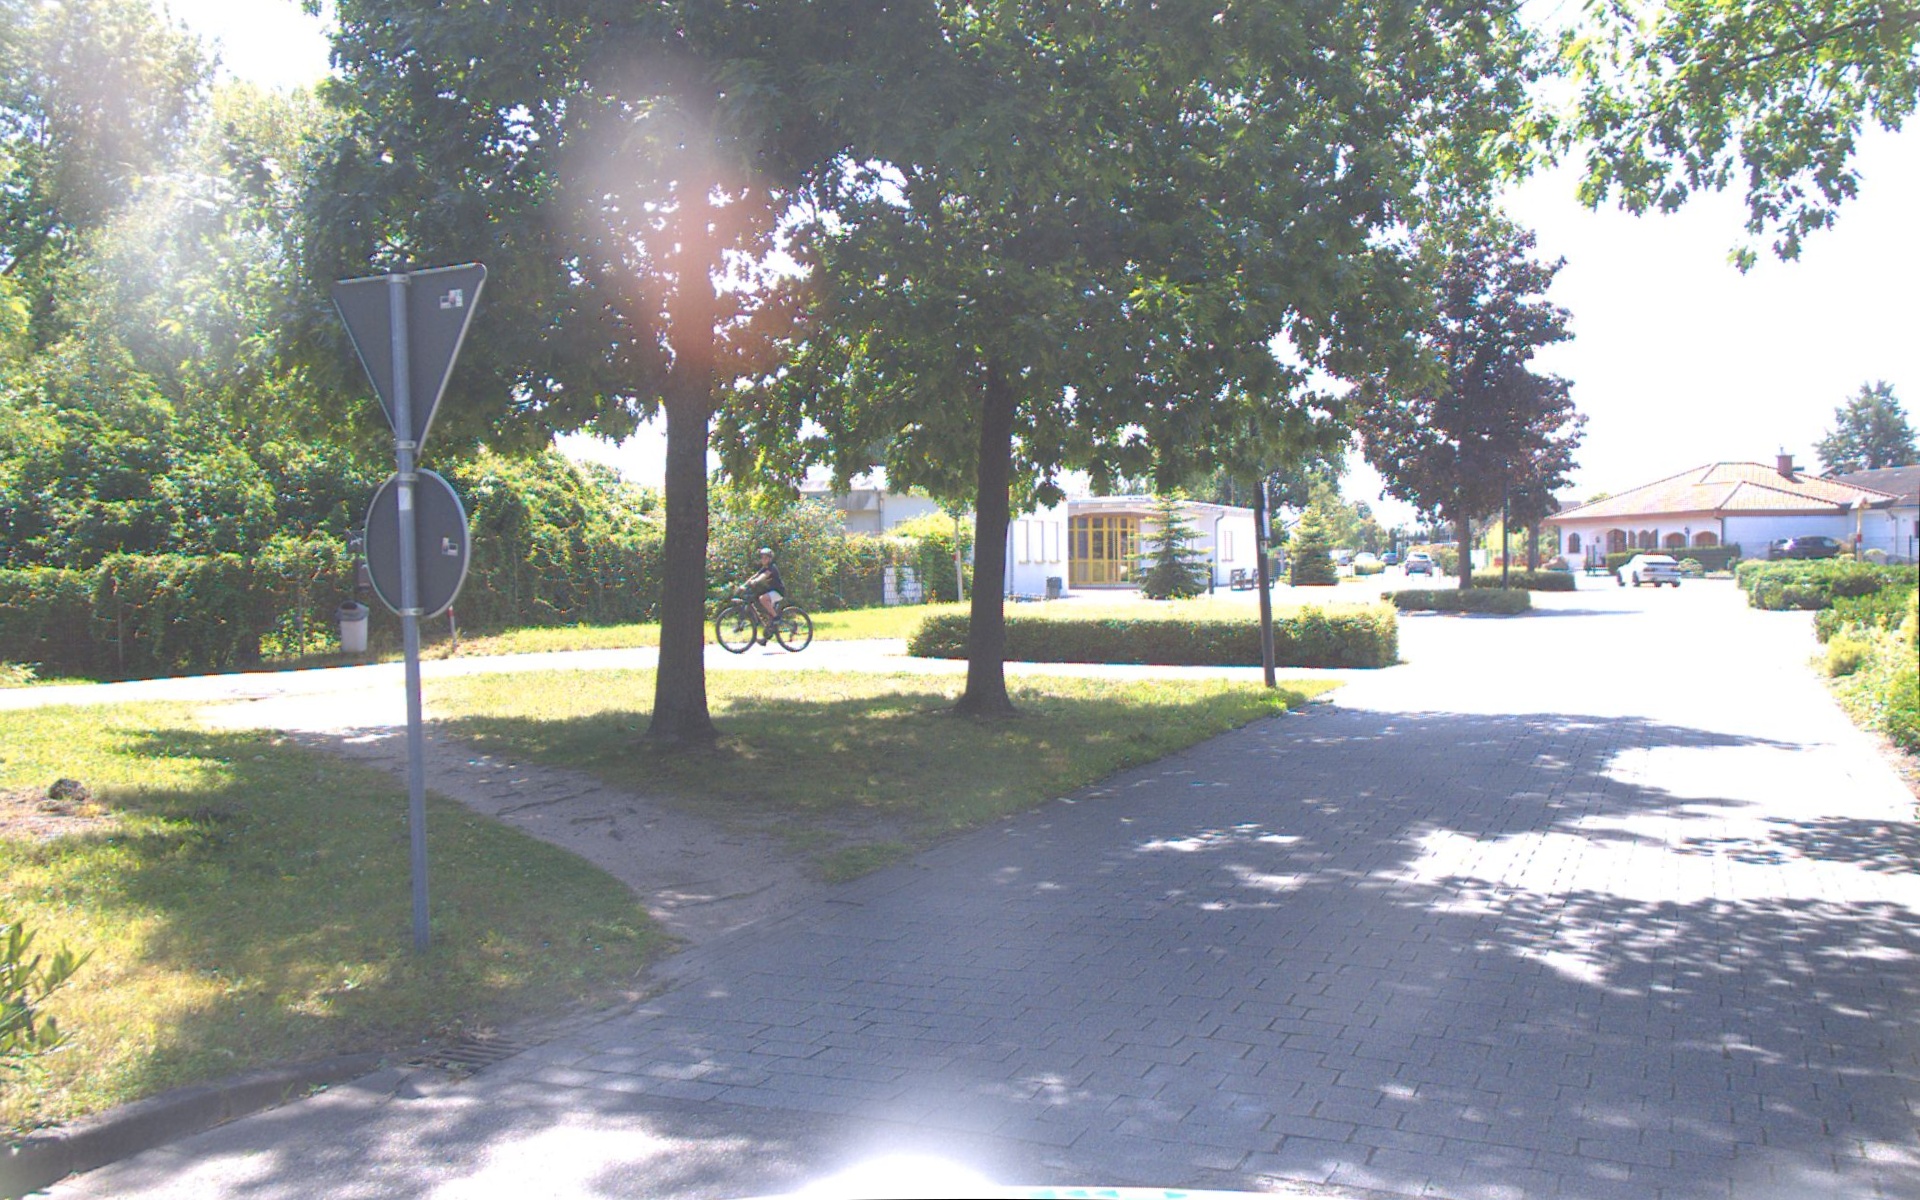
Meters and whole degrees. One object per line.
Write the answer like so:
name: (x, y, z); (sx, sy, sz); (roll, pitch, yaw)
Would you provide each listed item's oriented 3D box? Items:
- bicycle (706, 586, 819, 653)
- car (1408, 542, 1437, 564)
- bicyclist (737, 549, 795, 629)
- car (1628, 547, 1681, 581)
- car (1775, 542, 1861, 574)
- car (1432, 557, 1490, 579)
bicycle: (-2.954, 0.279, 24.778); (1.604, 0.945, 0.591); (-2, 1, -38)
car: (28.974, -2.935, 103.536); (1.580, 1.310, 3.559); (0, 1, 18)
bicyclist: (-2.916, -0.169, 24.803); (0.642, 1.185, 0.591); (-2, 1, -38)
car: (27.890, -1.448, 66.481); (1.580, 1.310, 3.559); (0, 1, 17)
car: (43.863, -2.135, 84.544); (3.767, 1.569, 1.844); (-1, 1, -20)
car: (29.876, -1.909, 98.707); (1.955, 1.310, 3.995); (-1, 1, -6)
